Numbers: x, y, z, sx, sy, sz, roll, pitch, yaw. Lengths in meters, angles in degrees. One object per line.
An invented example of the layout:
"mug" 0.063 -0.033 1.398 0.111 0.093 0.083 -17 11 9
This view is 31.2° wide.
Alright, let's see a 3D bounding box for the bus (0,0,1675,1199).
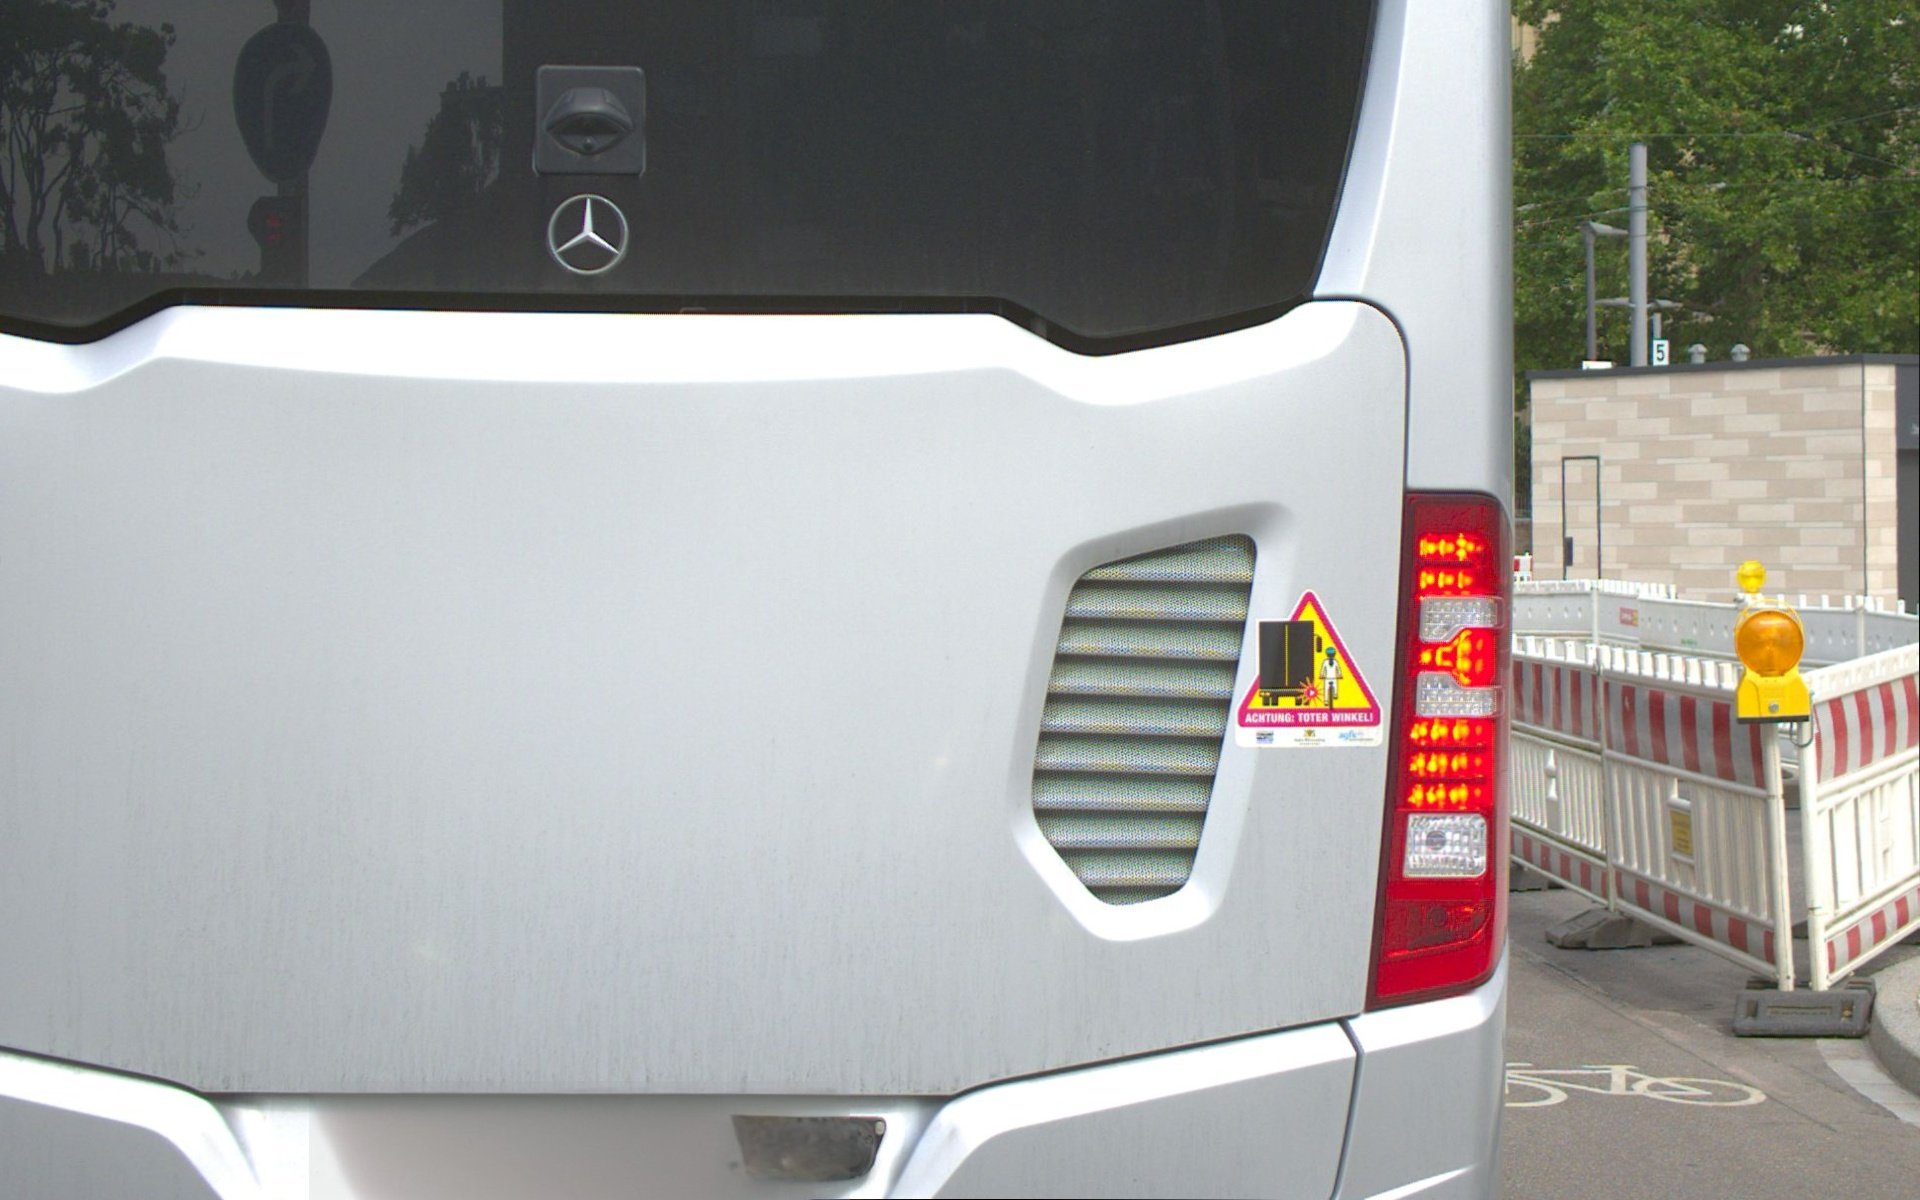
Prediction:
"bus" -0.738 -0.404 11.354 2.704 3.426 14.185 0 1 -2
